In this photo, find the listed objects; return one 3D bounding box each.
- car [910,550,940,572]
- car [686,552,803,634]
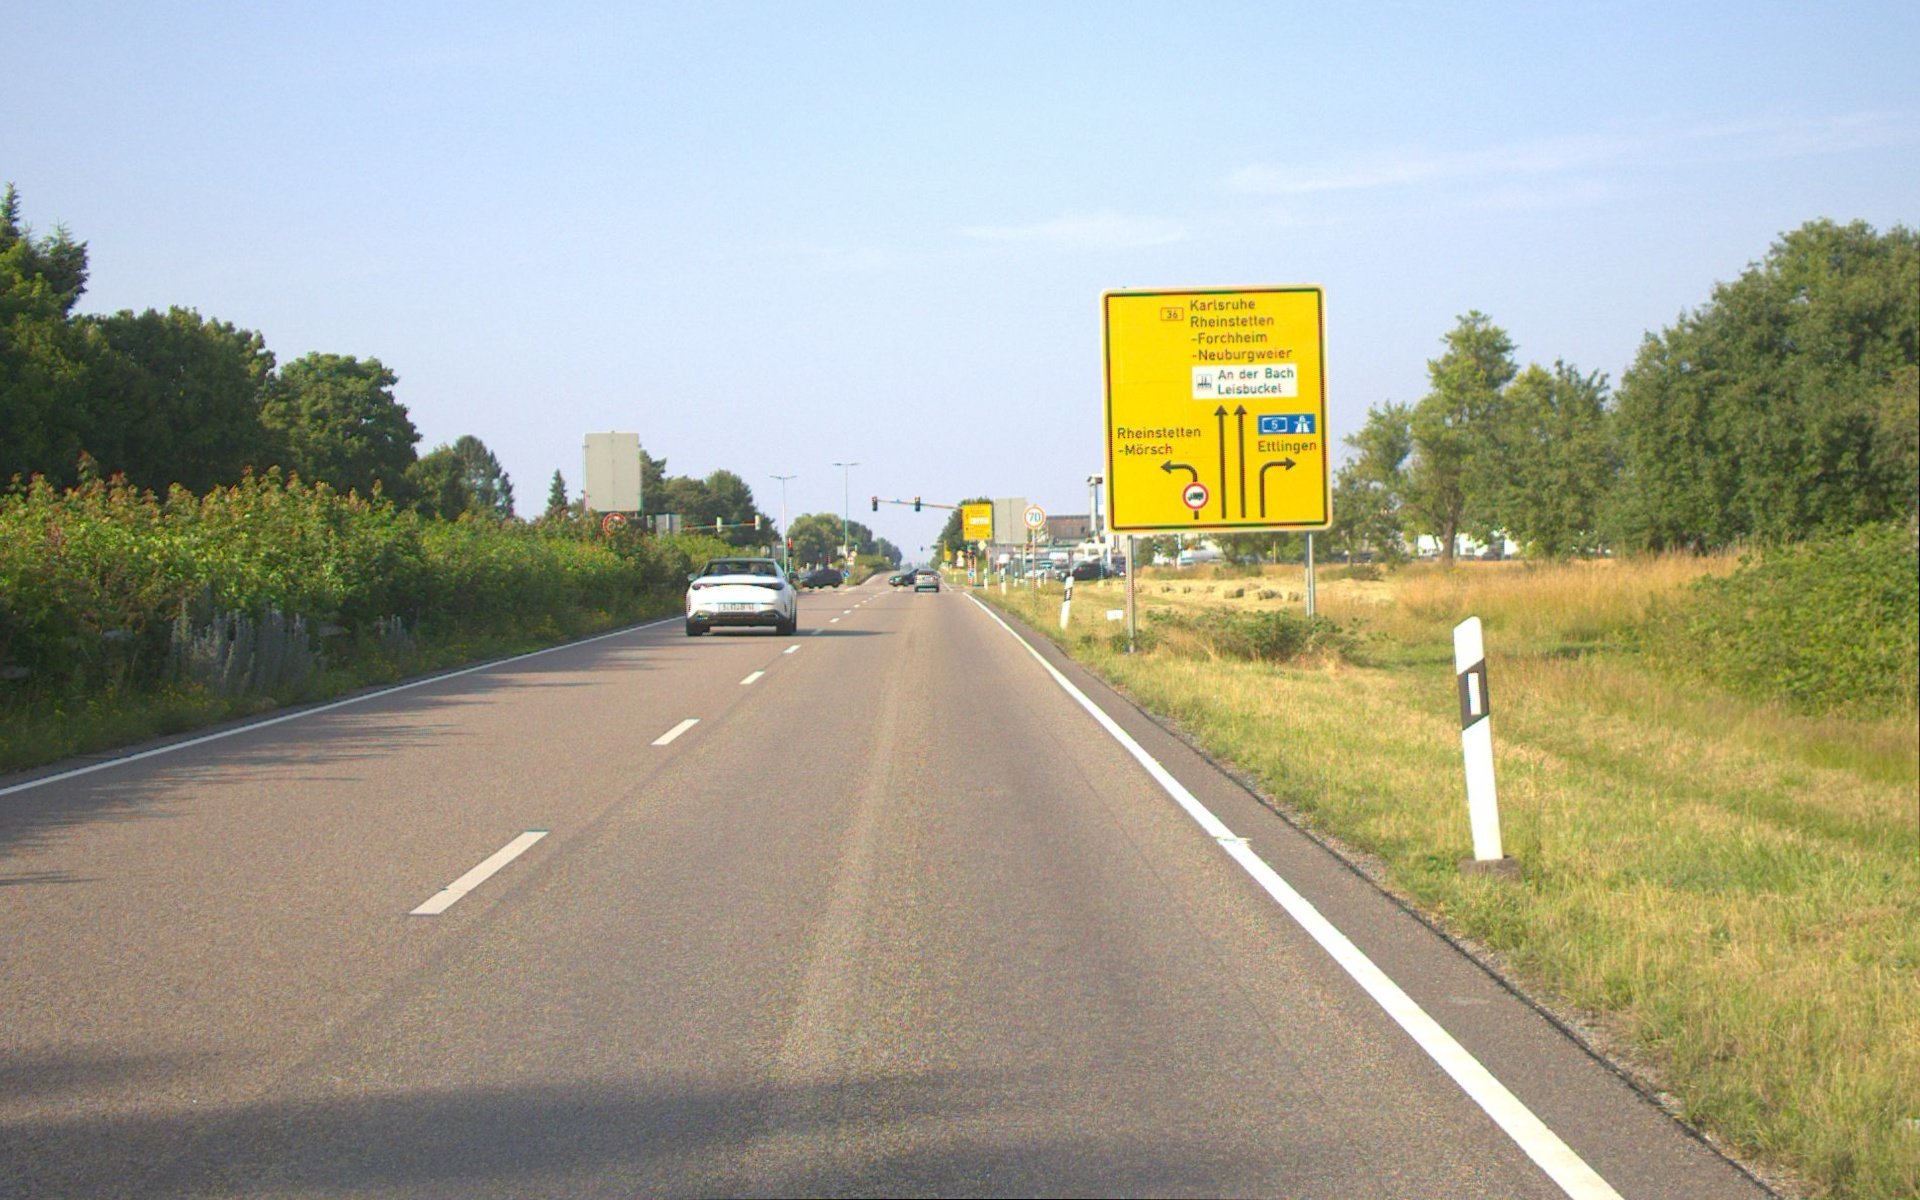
[{"bbox_3d":[-2.429,-2.684,236.684,1.993,1.481,4.000,0,1,-1],"label":"car"},{"bbox_3d":[-3.820,-0.146,61.405,1.909,1.417,4.000,0,1,-1],"label":"car"}]
